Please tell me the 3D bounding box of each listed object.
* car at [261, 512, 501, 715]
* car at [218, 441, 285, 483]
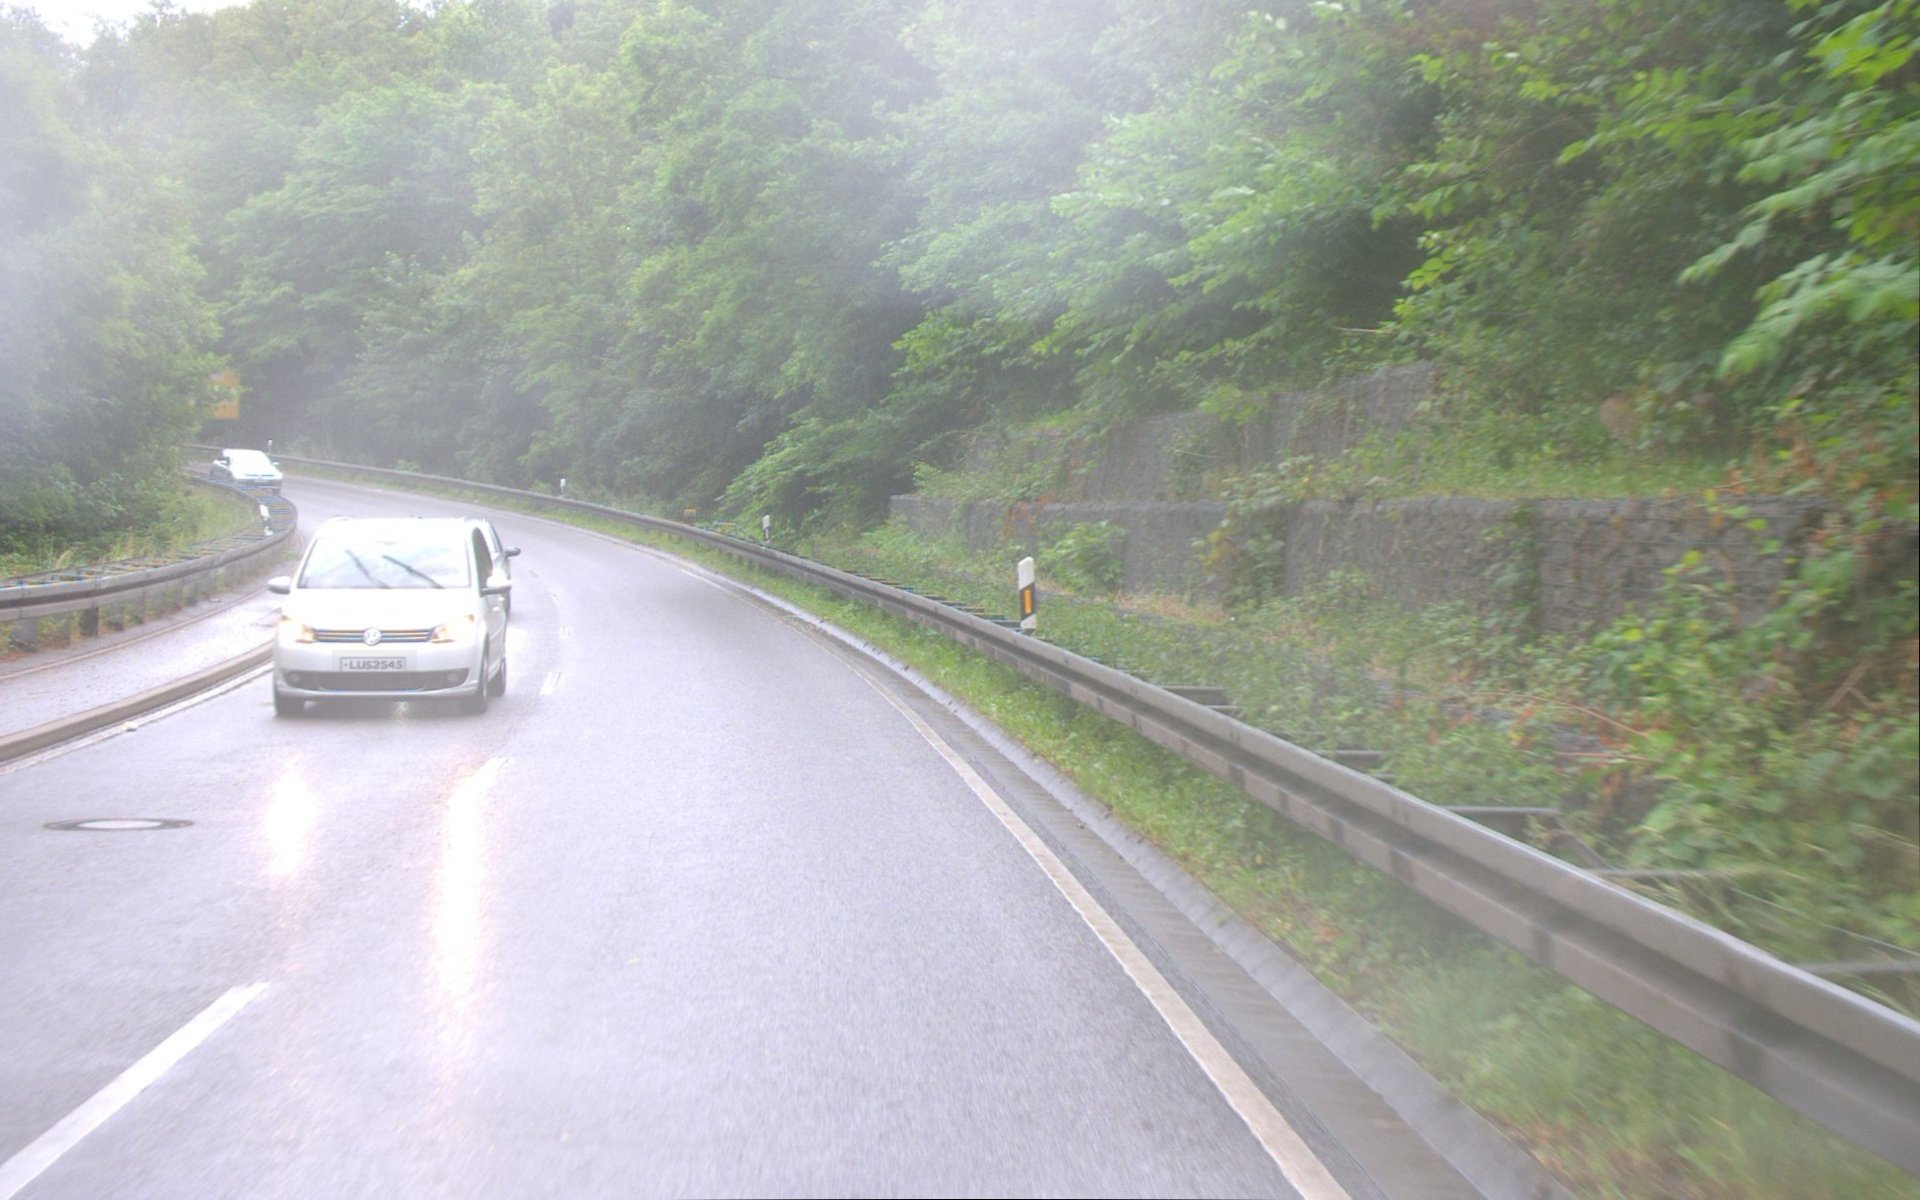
[{"bbox_3d":[-4.966,0.079,29.944,1.814,1.642,4.132,0,1,-6],"label":"car"},{"bbox_3d":[-24.792,-4.814,120.238,1.594,1.405,3.427,1,1,-24],"label":"car"}]
